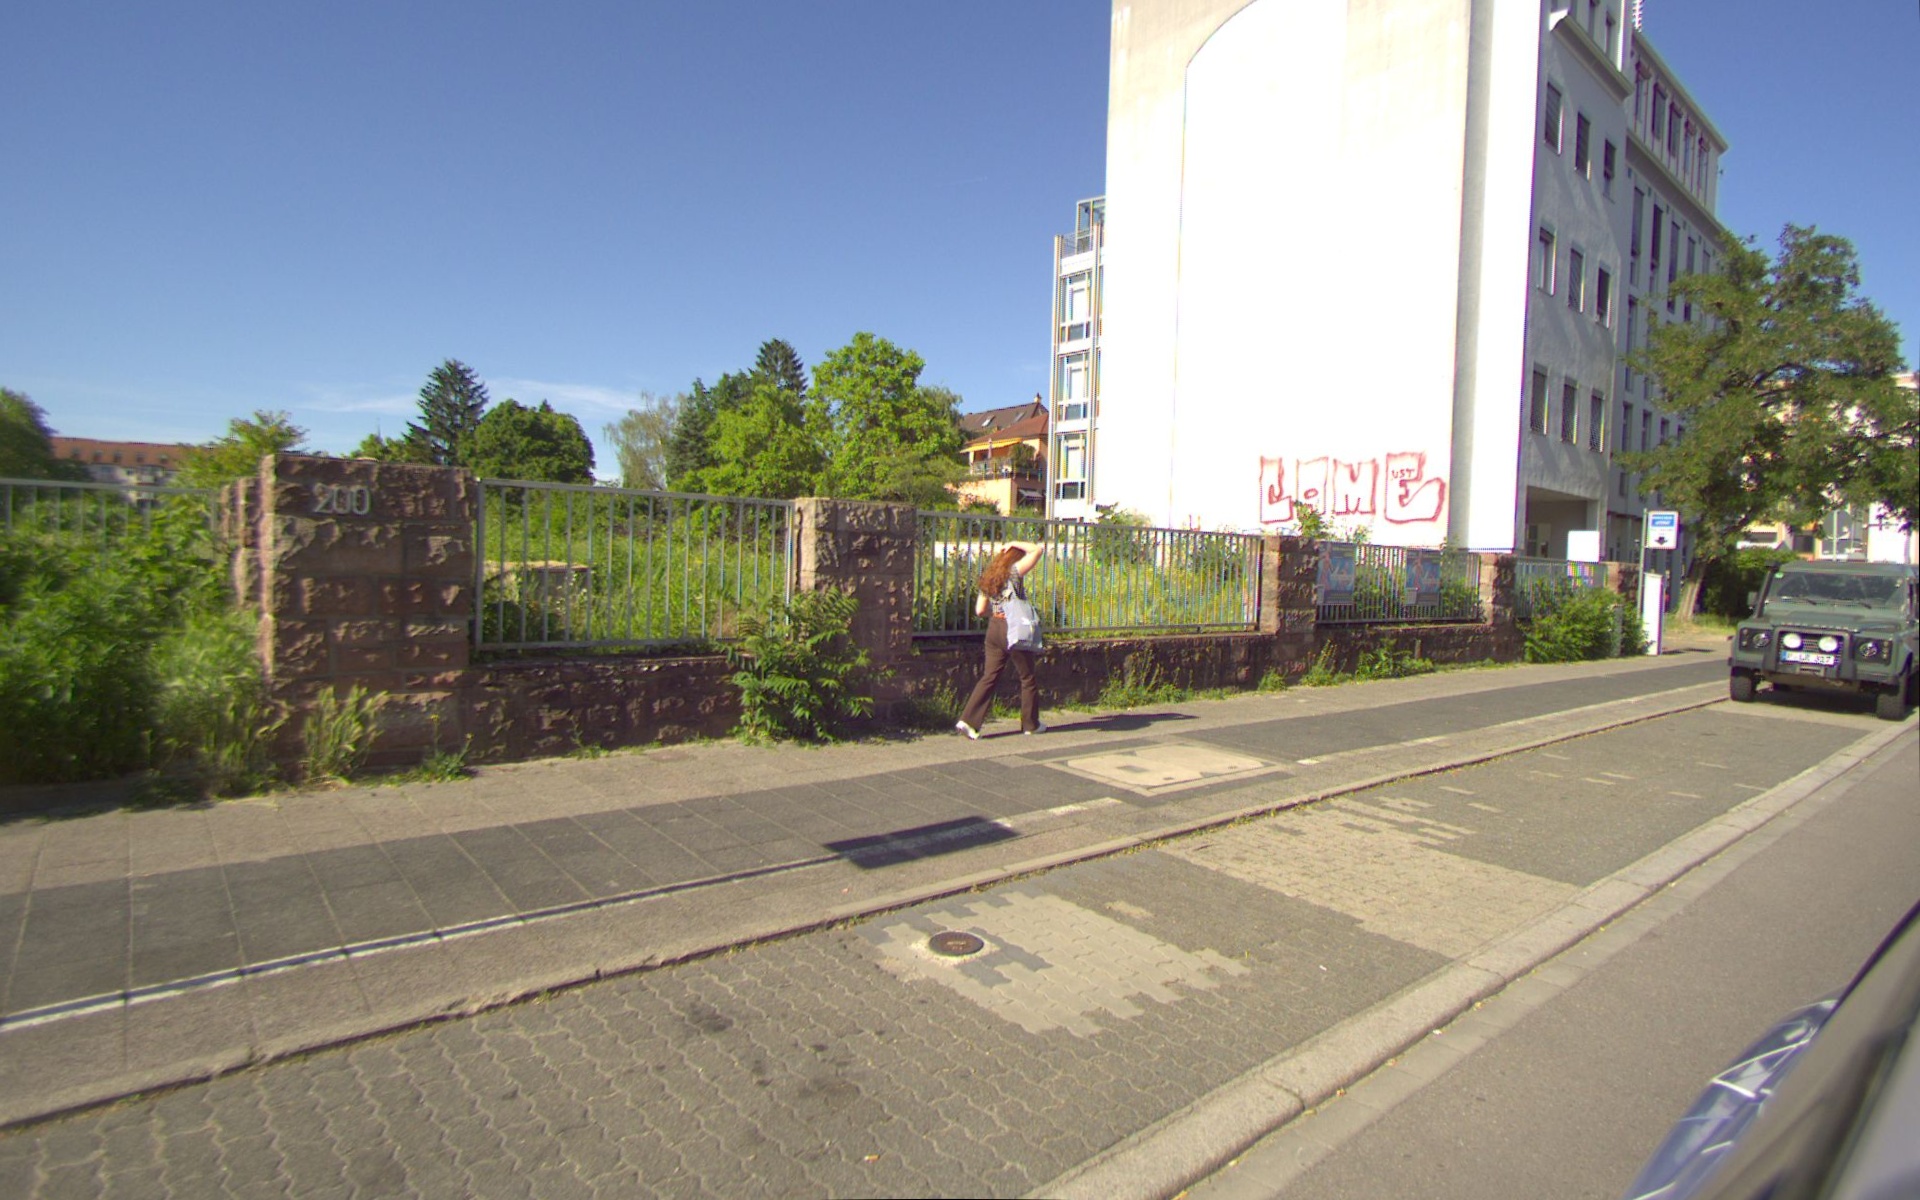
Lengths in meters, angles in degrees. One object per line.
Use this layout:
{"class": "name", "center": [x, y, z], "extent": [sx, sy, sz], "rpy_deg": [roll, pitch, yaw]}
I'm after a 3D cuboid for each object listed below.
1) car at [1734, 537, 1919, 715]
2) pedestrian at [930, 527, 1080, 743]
{"class": "car", "center": [12.358, 0.242, 13.948], "extent": [4.693, 2.038, 1.664], "rpy_deg": [-1, 4, -41]}
{"class": "pedestrian", "center": [0.360, 0.243, 8.059], "extent": [0.881, 1.603, 0.745], "rpy_deg": [0, 2, -40]}
